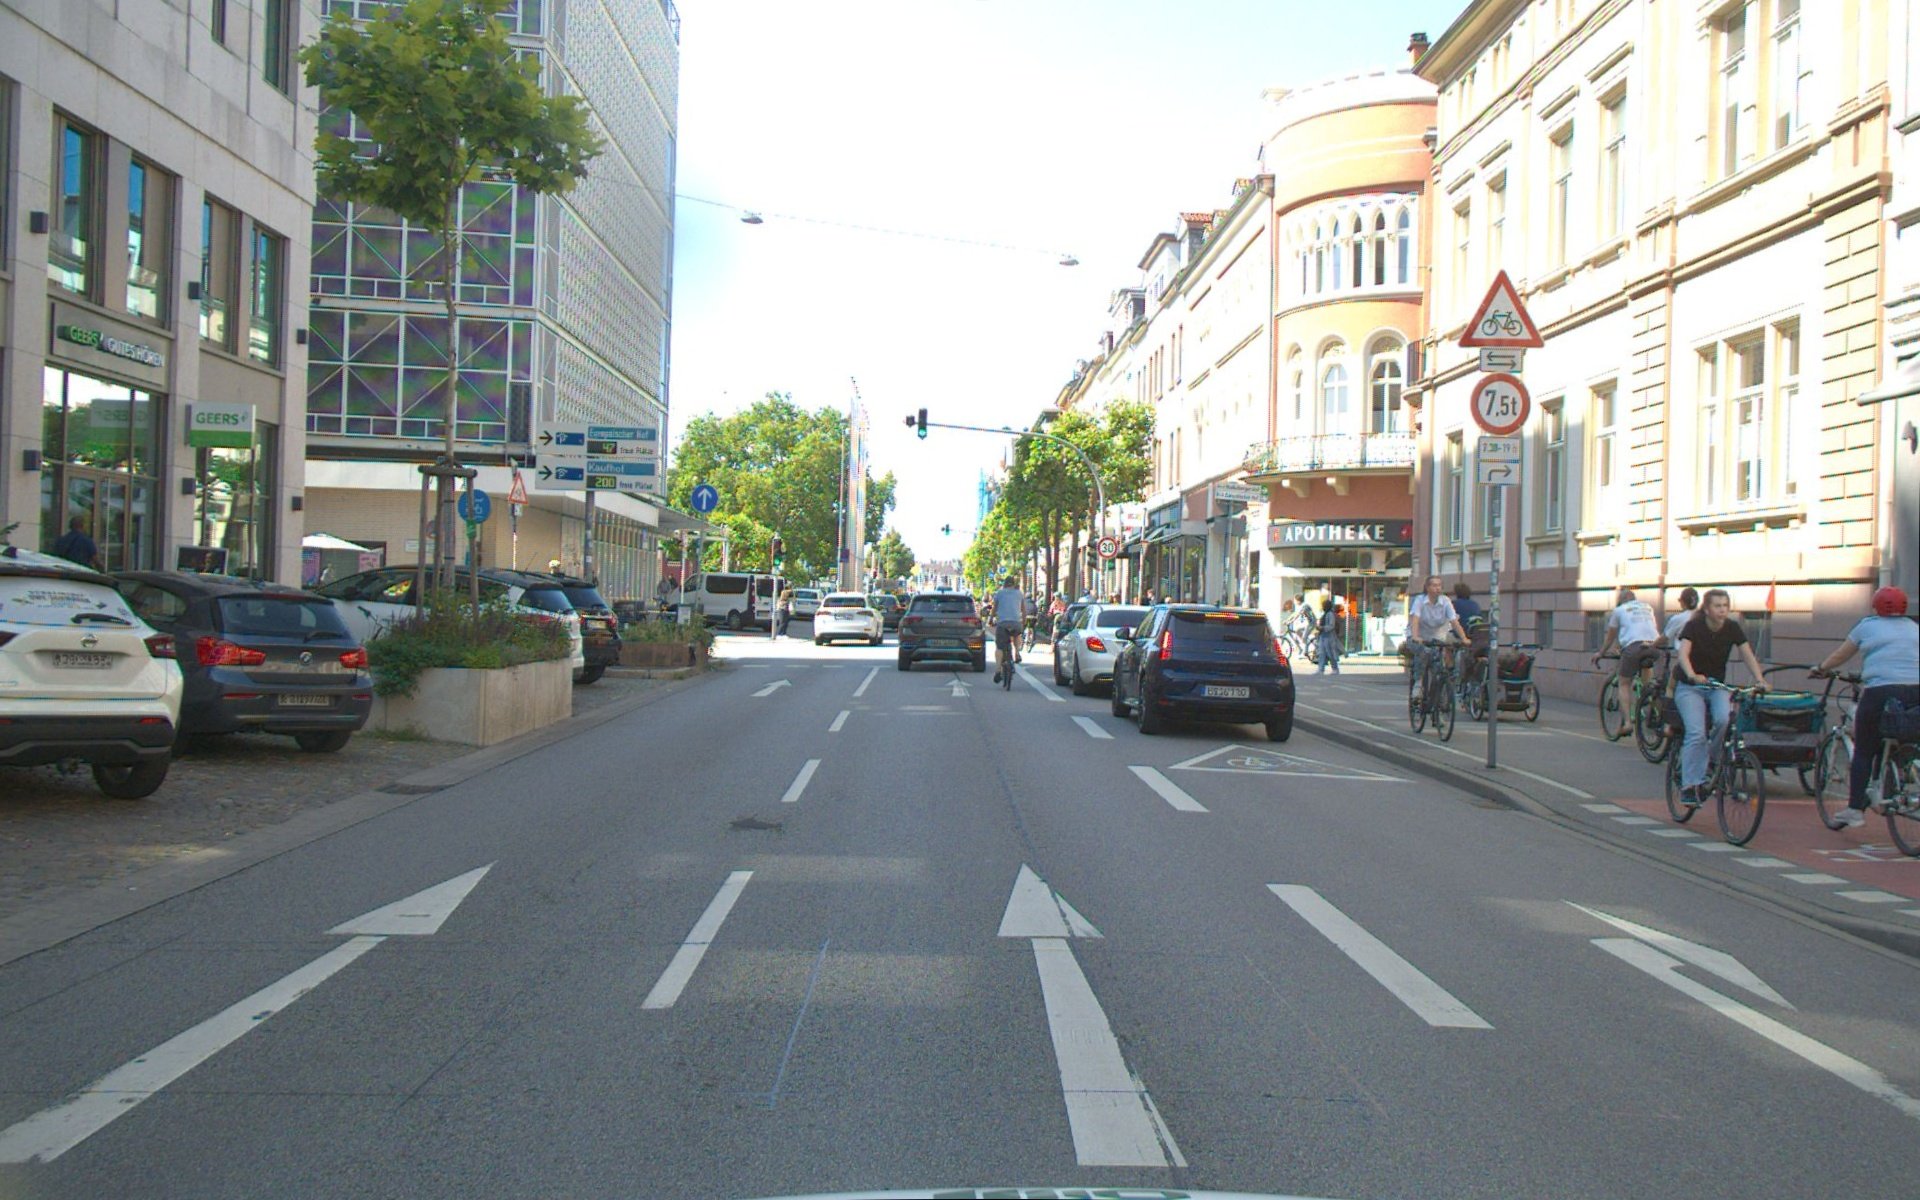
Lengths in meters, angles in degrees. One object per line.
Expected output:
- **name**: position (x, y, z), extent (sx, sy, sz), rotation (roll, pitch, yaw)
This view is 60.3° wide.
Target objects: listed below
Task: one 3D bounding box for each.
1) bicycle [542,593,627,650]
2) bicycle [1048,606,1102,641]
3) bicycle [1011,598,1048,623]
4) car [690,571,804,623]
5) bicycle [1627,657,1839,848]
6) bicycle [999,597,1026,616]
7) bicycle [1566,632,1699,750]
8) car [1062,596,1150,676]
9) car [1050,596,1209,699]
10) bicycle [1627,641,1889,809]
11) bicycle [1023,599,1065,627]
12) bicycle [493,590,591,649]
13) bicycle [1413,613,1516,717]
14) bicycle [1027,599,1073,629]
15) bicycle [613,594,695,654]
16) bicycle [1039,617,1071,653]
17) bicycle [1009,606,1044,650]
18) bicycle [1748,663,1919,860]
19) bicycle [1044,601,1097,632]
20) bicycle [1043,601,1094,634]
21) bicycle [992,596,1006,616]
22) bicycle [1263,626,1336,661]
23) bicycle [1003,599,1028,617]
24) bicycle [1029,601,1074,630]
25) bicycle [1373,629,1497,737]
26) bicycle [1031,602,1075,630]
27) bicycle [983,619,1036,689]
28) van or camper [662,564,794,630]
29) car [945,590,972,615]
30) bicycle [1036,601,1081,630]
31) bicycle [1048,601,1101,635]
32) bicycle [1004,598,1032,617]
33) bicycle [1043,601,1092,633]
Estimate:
- **bicycle**: position (-8.091, 0.458, 35.587), extent (2.023, 1.189, 0.603), rotation (1, -1, 36)
- **bicycle**: position (3.971, 0.802, 56.854), extent (1.801, 1.146, 0.667), rotation (1, -1, 6)
- **bicycle**: position (3.598, 0.546, 85.369), extent (1.801, 1.146, 0.498), rotation (3, 0, 10)
- **car**: position (-8.593, -0.139, 66.678), extent (4.357, 1.943, 2.002), rotation (2, 1, 36)
- **bicycle**: position (5.551, 1.050, 12.022), extent (0.582, 1.146, 2.094), rotation (0, 1, 0)
- **bicycle**: position (3.531, 0.439, 111.430), extent (1.806, 1.222, 0.608), rotation (2, 0, 1)
- **bicycle**: position (7.403, 0.971, 18.313), extent (0.559, 1.146, 2.077), rotation (0, 1, -2)
- **car**: position (3.061, 0.734, 34.155), extent (1.594, 1.504, 3.734), rotation (2, -1, 8)
- **car**: position (2.710, 0.716, 27.517), extent (1.913, 1.449, 4.884), rotation (3, 0, -2)
- **bicycle**: position (6.792, 1.002, 14.340), extent (0.733, 1.146, 3.241), rotation (0, 1, 1)
- **bicycle**: position (3.885, 0.599, 76.282), extent (1.806, 1.146, 0.496), rotation (4, 1, -9)
- **bicycle**: position (-8.707, 0.398, 34.431), extent (2.017, 1.146, 0.646), rotation (2, 0, 25)
- **bicycle**: position (7.055, 0.878, 23.247), extent (0.717, 1.291, 2.282), rotation (2, 1, 0)
- **bicycle**: position (3.907, 0.605, 71.827), extent (1.807, 1.146, 0.630), rotation (4, -1, -12)
- **bicycle**: position (-6.518, 0.505, 35.153), extent (2.030, 1.193, 0.601), rotation (2, -1, 44)
- **bicycle**: position (2.596, 0.950, 45.301), extent (0.588, 0.942, 2.085), rotation (3, -1, -4)
- **bicycle**: position (1.803, 0.749, 45.356), extent (0.684, 1.146, 2.079), rotation (3, 0, -4)
- **bicycle**: position (6.283, 1.058, 11.424), extent (0.720, 1.146, 2.034), rotation (0, 0, 0)
- **bicycle**: position (4.285, 0.638, 63.962), extent (1.943, 1.147, 0.762), rotation (1, -1, 12)
- **bicycle**: position (3.984, 0.647, 60.842), extent (1.802, 1.146, 0.666), rotation (1, -1, 1)
- **bicycle**: position (2.013, 0.309, 86.099), extent (0.634, 1.015, 2.030), rotation (2, 0, -1)
- **bicycle**: position (8.828, 1.128, 42.979), extent (1.784, 0.859, 0.501), rotation (1, 0, 0)
- **bicycle**: position (3.647, 0.494, 108.184), extent (1.615, 1.114, 0.607), rotation (2, 0, 1)
- **bicycle**: position (3.831, 0.649, 69.613), extent (1.803, 1.112, 0.564), rotation (3, -1, -1)
- **bicycle**: position (5.506, 0.925, 19.356), extent (0.726, 1.146, 2.573), rotation (0, 0, 0)
- **bicycle**: position (4.010, 0.671, 71.330), extent (1.807, 1.112, 0.563), rotation (3, -1, -12)
- **bicycle**: position (0.787, 0.852, 26.887), extent (0.758, 1.023, 2.329), rotation (1, 0, -1)
- **van or camper**: position (-8.226, -0.119, 58.440), extent (4.573, 2.048, 1.990), rotation (4, 1, 39)
- **car**: position (-0.128, 0.150, 121.121), extent (1.808, 1.697, 3.999), rotation (3, 0, -1)
- **bicycle**: position (4.004, 0.625, 67.232), extent (1.804, 1.147, 0.447), rotation (1, -1, 27)
- **bicycle**: position (3.976, 0.625, 57.417), extent (1.802, 1.146, 0.666), rotation (1, -1, 1)
- **bicycle**: position (3.623, 0.457, 102.565), extent (1.692, 1.128, 0.402), rotation (2, 0, 1)
- **bicycle**: position (3.994, 0.650, 61.535), extent (1.802, 1.147, 0.530), rotation (1, -1, 1)
